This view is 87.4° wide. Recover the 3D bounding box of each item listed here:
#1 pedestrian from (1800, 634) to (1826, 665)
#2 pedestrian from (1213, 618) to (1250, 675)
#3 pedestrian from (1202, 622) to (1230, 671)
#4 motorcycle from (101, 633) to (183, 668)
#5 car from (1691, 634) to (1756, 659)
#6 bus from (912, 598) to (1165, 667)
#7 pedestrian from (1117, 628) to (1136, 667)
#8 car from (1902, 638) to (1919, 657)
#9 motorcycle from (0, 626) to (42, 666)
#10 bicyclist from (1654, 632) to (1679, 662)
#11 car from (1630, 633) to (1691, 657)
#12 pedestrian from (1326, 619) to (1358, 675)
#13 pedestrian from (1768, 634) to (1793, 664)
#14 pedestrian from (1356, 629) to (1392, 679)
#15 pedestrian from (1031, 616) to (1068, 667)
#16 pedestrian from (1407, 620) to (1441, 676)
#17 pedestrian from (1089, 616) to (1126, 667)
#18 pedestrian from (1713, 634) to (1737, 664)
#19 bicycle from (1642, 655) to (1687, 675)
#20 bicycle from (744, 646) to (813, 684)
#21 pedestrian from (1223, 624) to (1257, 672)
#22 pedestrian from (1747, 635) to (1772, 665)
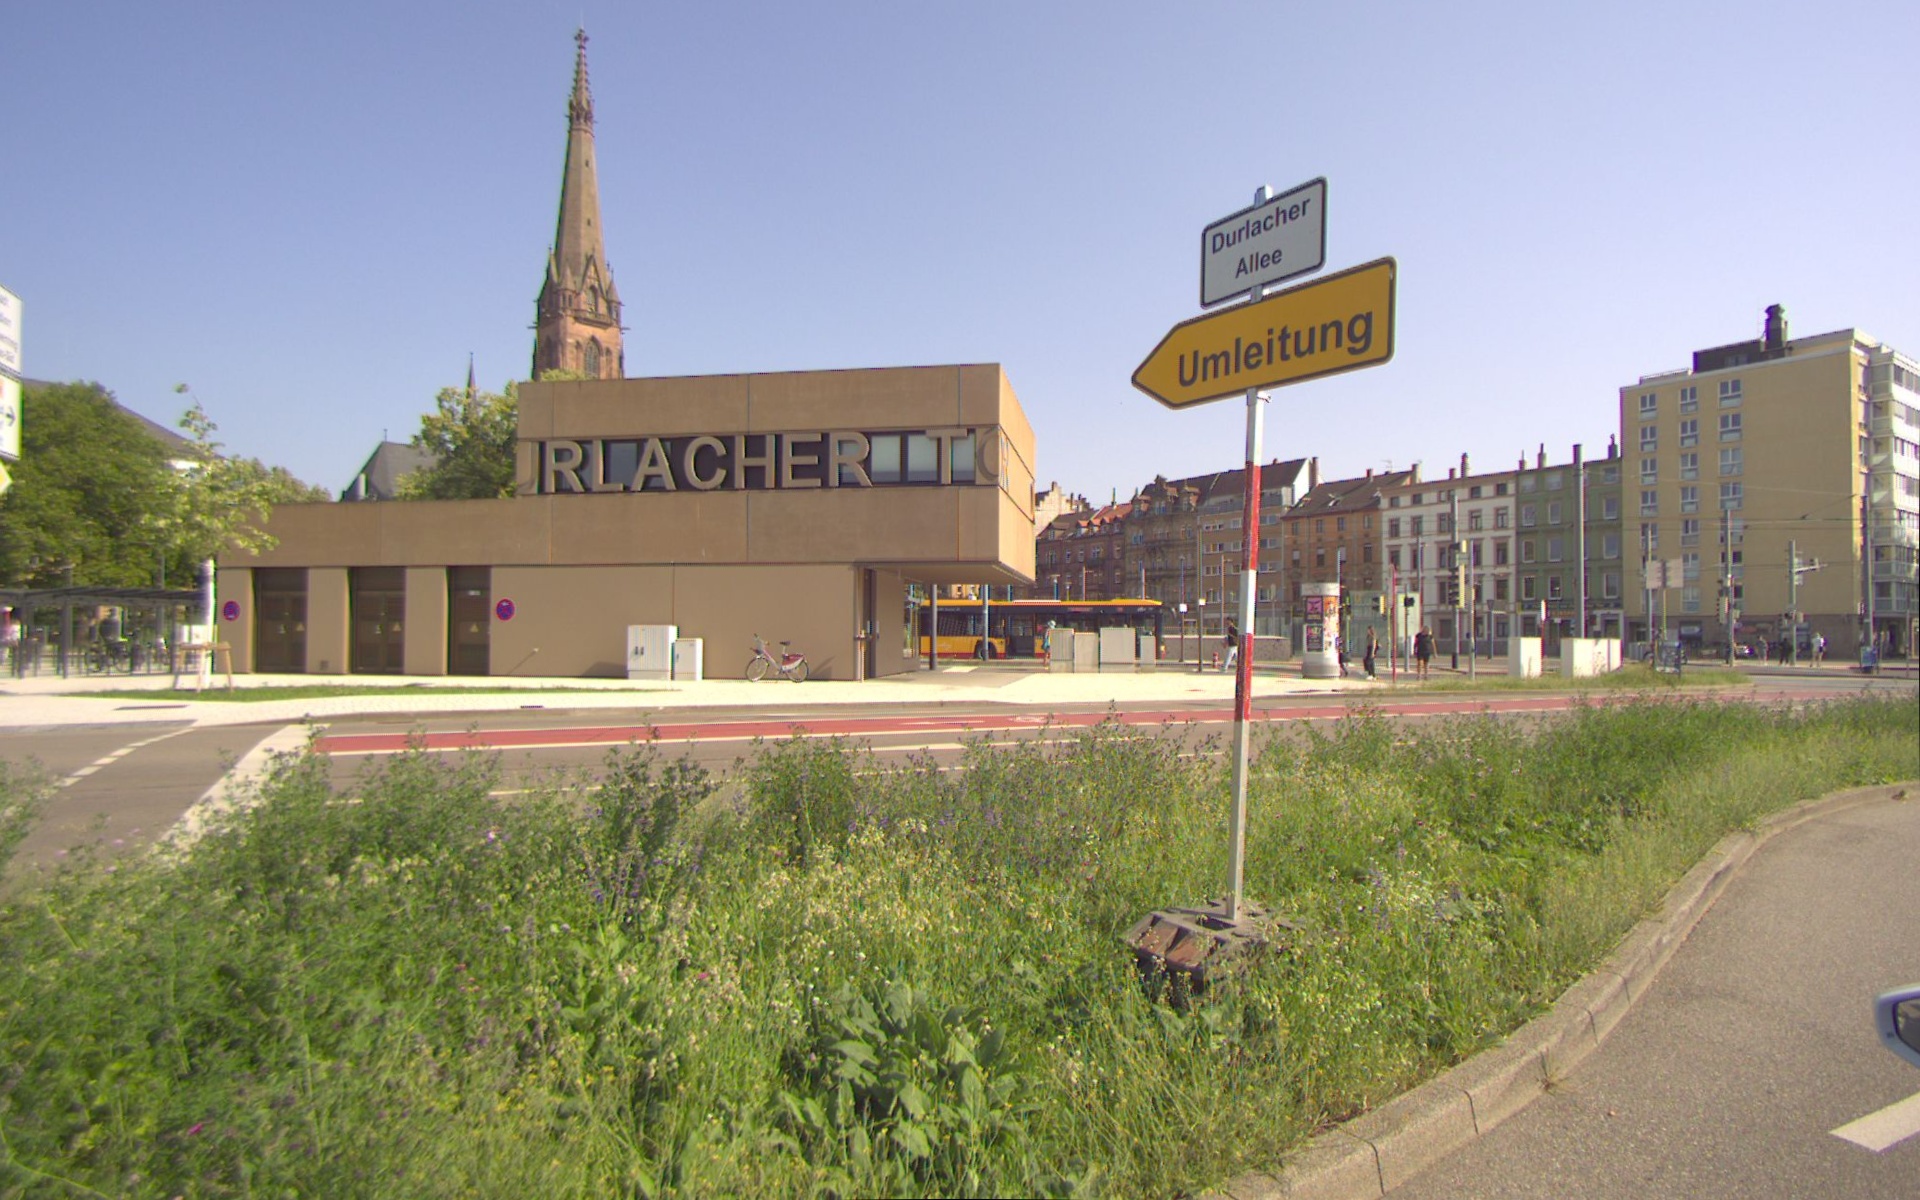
[{"bbox_3d":[47.839,2.792,56.330,0.913,1.712,0.916,1,-1,-35],"label":"pedestrian"},{"bbox_3d":[8.750,1.496,32.411,0.850,1.793,0.988,1,-2,-9],"label":"pedestrian"},{"bbox_3d":[9.709,1.759,38.126,0.691,1.824,0.775,1,-2,-25],"label":"pedestrian"},{"bbox_3d":[-29.443,1.811,36.166,2.328,1.221,0.760,0,-2,0],"label":"motorcycle"},{"bbox_3d":[55.692,3.354,73.338,1.959,1.700,4.553,0,-2,11],"label":"car"},{"bbox_3d":[3.810,1.556,48.791,11.966,3.149,2.719,0,-2,10],"label":"bus"},{"bbox_3d":[7.623,2.160,46.045,0.819,1.761,0.831,0,-2,7],"label":"pedestrian"},{"bbox_3d":[71.622,3.503,73.233,1.467,1.372,4.128,2,-2,-36],"label":"car"},{"bbox_3d":[-35.553,1.691,37.031,2.714,1.468,0.790,0,-2,2],"label":"motorcycle"},{"bbox_3d":[36.276,2.405,51.578,0.717,1.547,0.791,1,-2,-29],"label":"bicyclist"},{"bbox_3d":[53.826,3.433,77.241,1.959,1.700,4.553,0,-1,7],"label":"car"},{"bbox_3d":[12.722,1.563,33.452,0.764,1.824,0.799,0,-2,3],"label":"pedestrian"},{"bbox_3d":[47.161,2.812,57.734,0.913,1.712,0.916,1,-1,-35],"label":"pedestrian"},{"bbox_3d":[13.221,1.718,32.081,0.970,1.579,0.866,0,-2,17],"label":"pedestrian"},{"bbox_3d":[3.033,1.395,34.088,0.856,1.694,0.982,1,-2,-31],"label":"pedestrian"},{"bbox_3d":[15.377,1.590,33.314,0.691,1.824,0.775,1,-2,-25],"label":"pedestrian"},{"bbox_3d":[5.055,1.419,34.502,0.856,1.727,0.982,1,-2,-31],"label":"pedestrian"},{"bbox_3d":[45.280,2.907,59.477,0.913,1.712,0.916,1,-1,-35],"label":"pedestrian"},{"bbox_3d":[36.219,3.337,51.660,0.717,0.944,1.805,1,-2,-28],"label":"bicycle"},{"bbox_3d":[-4.326,1.544,23.994,1.516,0.849,0.593,0,1,11],"label":"bicycle"},{"bbox_3d":[9.442,1.616,33.916,0.849,1.583,0.989,1,-2,-4],"label":"pedestrian"},{"bbox_3d":[46.799,2.913,58.783,0.913,1.712,0.916,1,-1,-35],"label":"pedestrian"}]
